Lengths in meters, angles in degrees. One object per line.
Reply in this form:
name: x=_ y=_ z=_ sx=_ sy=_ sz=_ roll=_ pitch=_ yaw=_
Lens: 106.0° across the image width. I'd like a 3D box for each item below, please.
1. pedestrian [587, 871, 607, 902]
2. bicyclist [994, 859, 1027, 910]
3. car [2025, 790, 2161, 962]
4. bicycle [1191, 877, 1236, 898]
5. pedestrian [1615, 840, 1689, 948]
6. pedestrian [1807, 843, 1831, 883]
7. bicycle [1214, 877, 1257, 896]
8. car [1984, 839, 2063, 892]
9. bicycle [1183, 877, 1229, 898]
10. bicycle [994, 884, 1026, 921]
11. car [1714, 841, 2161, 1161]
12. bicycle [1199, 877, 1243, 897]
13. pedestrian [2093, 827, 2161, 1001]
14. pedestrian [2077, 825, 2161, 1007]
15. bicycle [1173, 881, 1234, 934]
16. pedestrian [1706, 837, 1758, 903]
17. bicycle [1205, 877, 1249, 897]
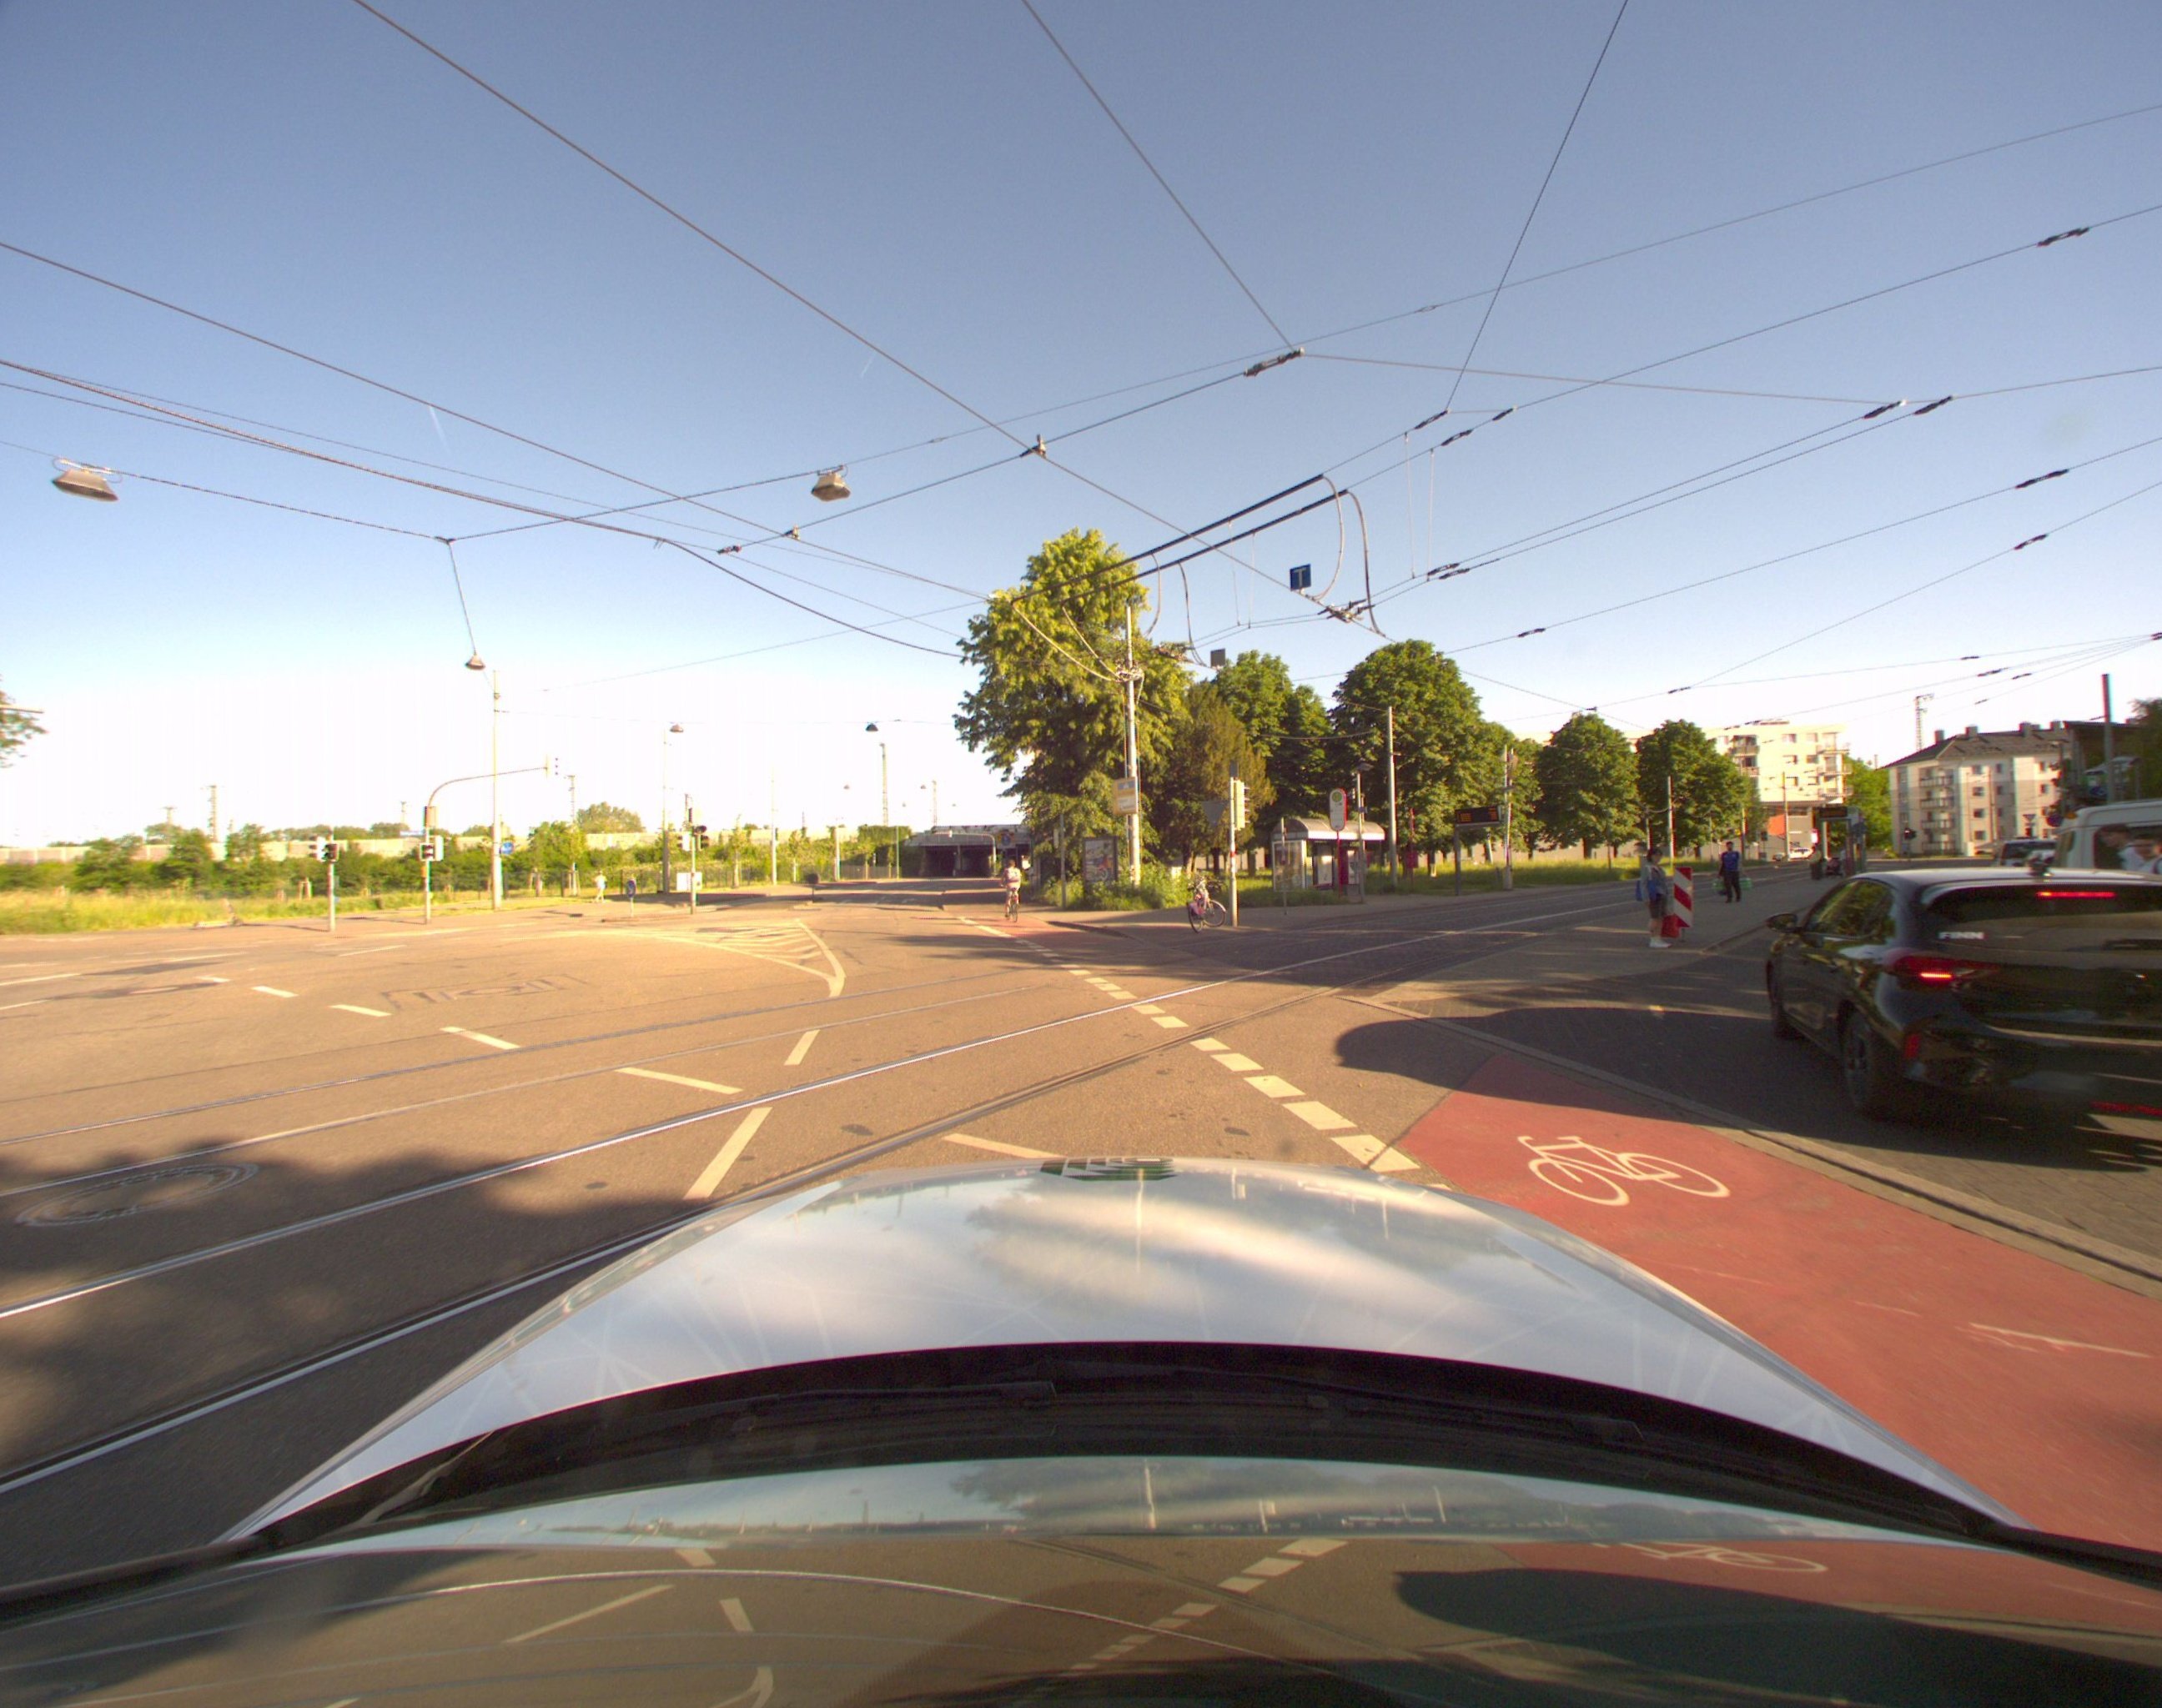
pedestrian: x=-24.937 y=1.653 z=41.951 sx=0.598 sy=1.596 sz=0.684 roll=0 pitch=-1 yaw=-3
bicyclist: x=-2.203 y=0.927 z=25.314 sx=0.841 sy=1.510 sz=1.362 roll=-1 pitch=-1 yaw=-13
car: x=15.896 y=0.326 z=12.186 sx=4.330 sy=2.278 sz=2.071 roll=1 pitch=-2 yaw=-43
bicycle: x=5.942 y=1.507 z=36.610 sx=1.859 sy=0.906 sz=0.664 roll=-2 pitch=-1 yaw=30
pedestrian: x=9.170 y=0.634 z=13.107 sx=0.720 sy=1.693 sz=0.703 roll=-2 pitch=-1 yaw=13
pedestrian: x=34.050 y=0.417 z=37.562 sx=1.001 sy=1.793 sz=0.672 roll=0 pitch=-2 yaw=-42
bicycle: x=7.393 y=1.557 z=38.976 sx=1.859 sy=0.906 sz=0.664 roll=-2 pitch=-1 yaw=30
car: x=36.927 y=0.429 z=31.979 sx=3.962 sy=1.927 sz=1.784 roll=-1 pitch=-1 yaw=-43
bicycle: x=5.474 y=1.474 z=35.732 sx=1.859 sy=0.906 sz=0.664 roll=-2 pitch=-1 yaw=30
bicycle: x=-2.226 y=1.492 z=25.379 sx=0.668 sy=1.059 sz=2.072 roll=-1 pitch=-1 yaw=-13
car: x=5.759 y=0.669 z=5.459 sx=1.783 sy=1.441 sz=3.964 roll=-2 pitch=-1 yaw=29
bicycle: x=6.413 y=1.523 z=37.362 sx=1.859 sy=0.906 sz=0.664 roll=-2 pitch=-1 yaw=30
pedestrian: x=11.724 y=0.630 z=8.874 sx=0.702 sy=1.846 sz=0.698 roll=-1 pitch=-1 yaw=-28
pedestrian: x=10.882 y=0.609 z=8.279 sx=0.692 sy=1.792 sz=0.621 roll=-2 pitch=-1 yaw=22
bicycle: x=2.754 y=1.152 z=18.131 sx=0.817 sy=1.059 sz=1.894 roll=-2 pitch=-1 yaw=25
pedestrian: x=18.374 y=0.451 z=22.979 sx=1.001 sy=1.793 sz=0.950 roll=0 pitch=-2 yaw=-42
bicycle: x=6.852 y=1.541 z=38.237 sx=1.859 sy=0.906 sz=0.664 roll=-2 pitch=-1 yaw=30
